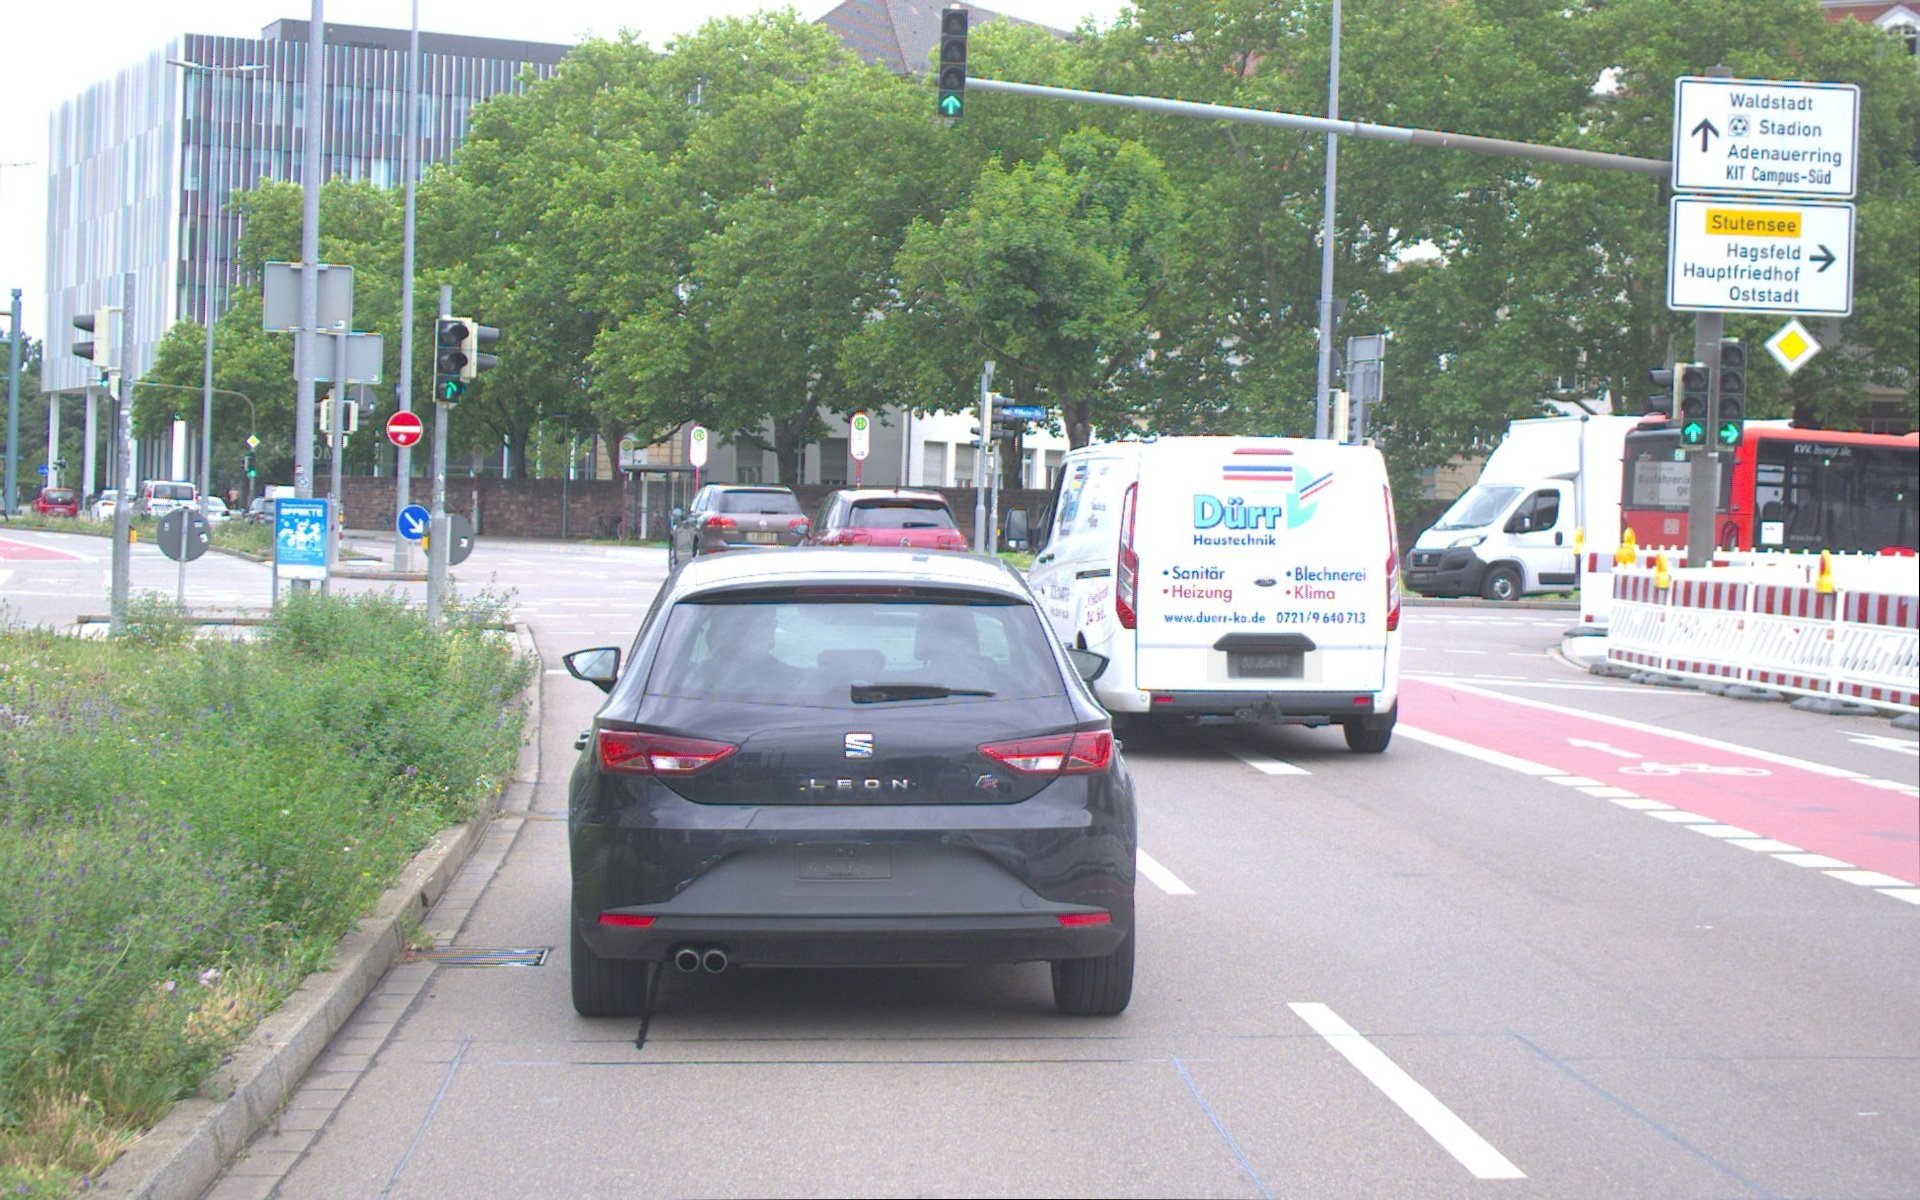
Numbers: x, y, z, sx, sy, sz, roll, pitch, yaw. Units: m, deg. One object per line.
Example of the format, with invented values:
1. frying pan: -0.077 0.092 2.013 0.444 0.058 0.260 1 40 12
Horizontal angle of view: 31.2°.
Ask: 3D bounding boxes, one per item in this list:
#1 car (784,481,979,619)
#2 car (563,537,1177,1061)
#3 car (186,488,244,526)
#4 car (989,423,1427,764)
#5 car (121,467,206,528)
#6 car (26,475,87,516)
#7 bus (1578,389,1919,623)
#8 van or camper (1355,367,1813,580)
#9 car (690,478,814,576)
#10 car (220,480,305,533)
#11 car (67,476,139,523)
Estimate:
1. car: -1.032 -0.661 42.786 1.857 1.594 4.206 1 2 -9
2. car: -0.452 0.524 11.766 1.745 1.459 4.001 0 1 -6
3. car: -28.142 -3.520 129.791 1.525 1.360 2.970 1 2 -24
4. car: 1.522 -0.122 23.212 1.993 2.012 5.033 1 2 -7
5. car: -27.695 -3.569 119.452 1.993 2.007 4.001 1 2 -25
6. car: -39.463 -4.583 150.113 1.993 1.676 4.012 1 2 -23
7. bus: 15.287 -1.343 53.348 12.338 3.286 3.068 1 2 -33
8. van or camper: 10.489 -2.056 57.761 7.127 3.320 2.877 1 1 -23
9. car: -3.545 -1.266 58.315 1.993 1.560 4.206 1 2 -4
10. car: -23.697 -3.196 116.738 1.917 1.678 4.001 1 2 -25
11. car: -32.373 -3.803 129.830 1.993 1.634 4.001 1 2 -23
